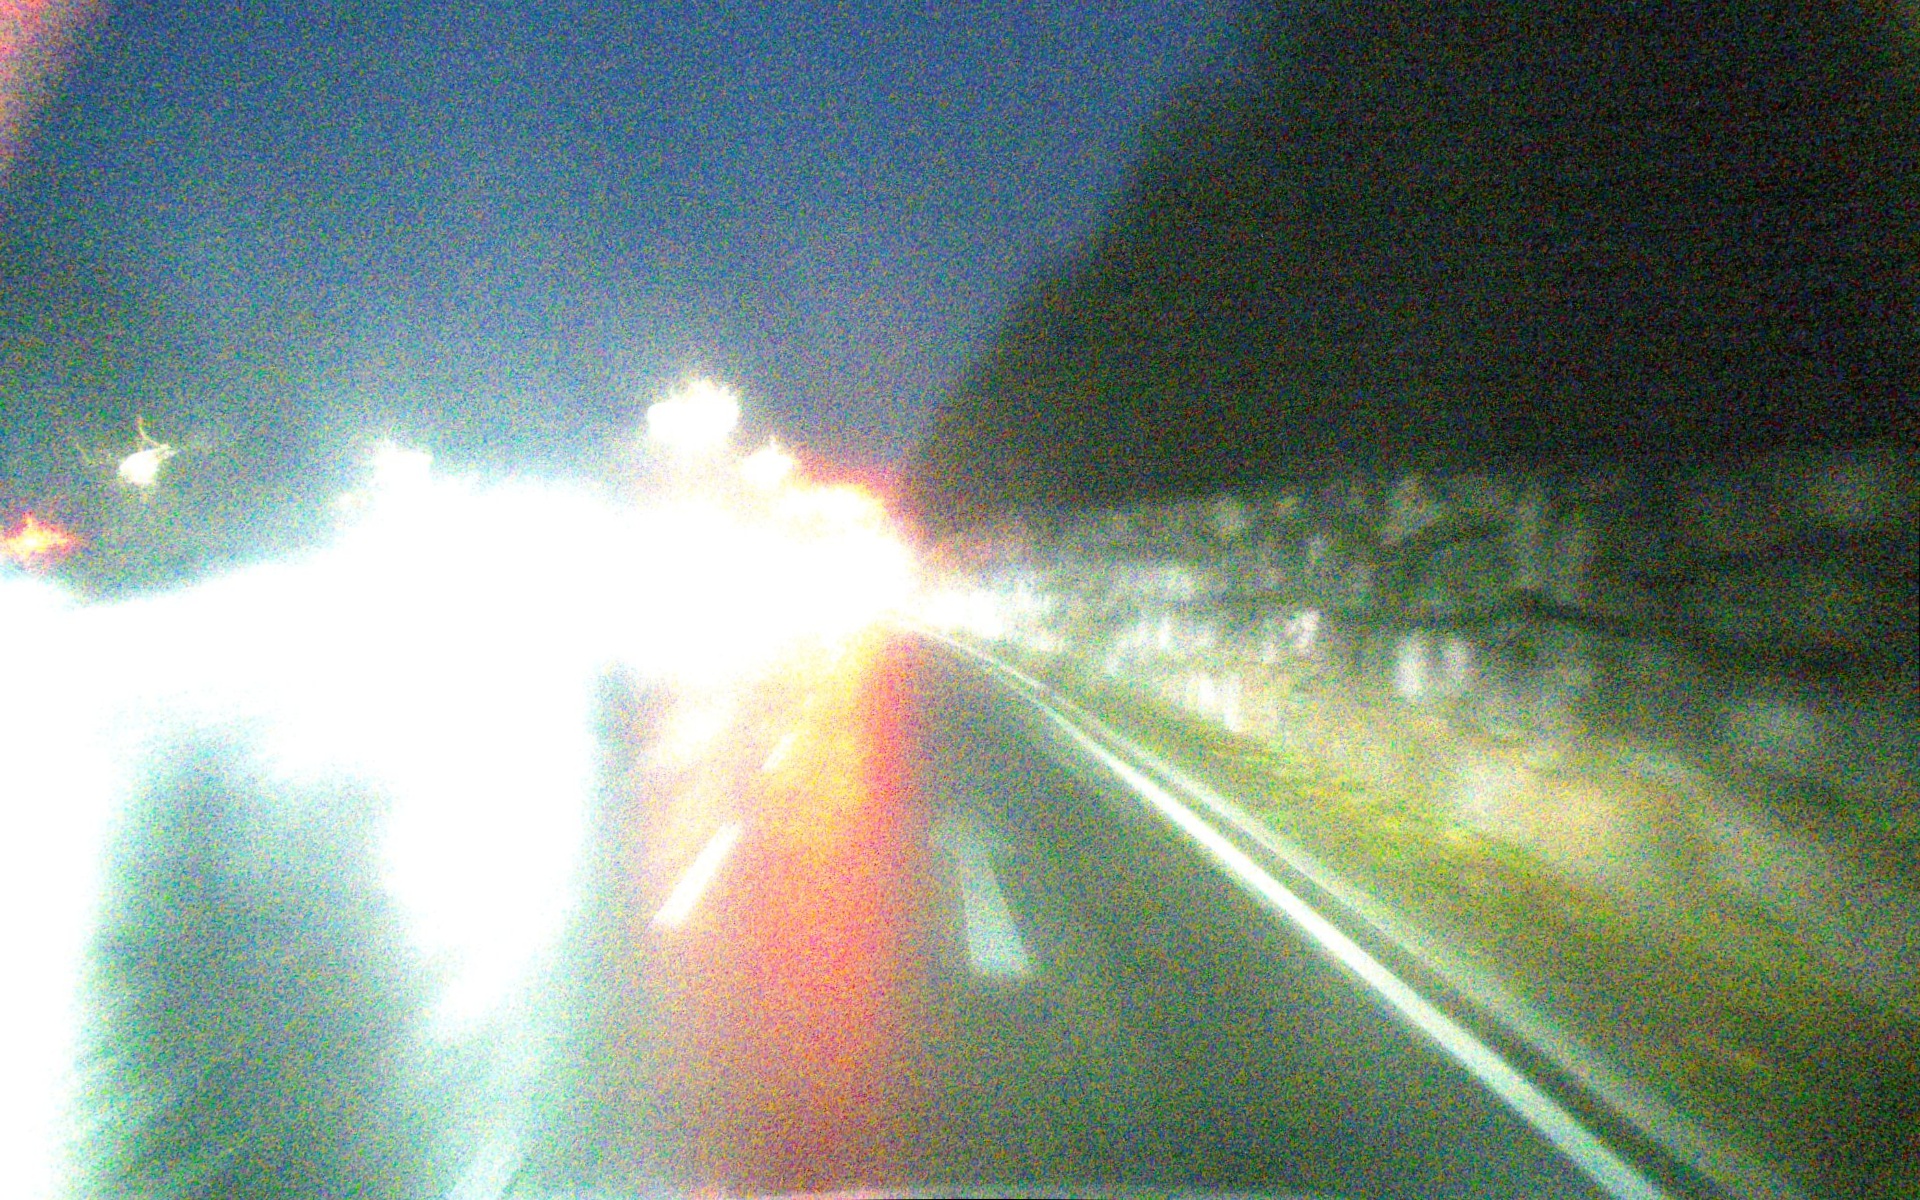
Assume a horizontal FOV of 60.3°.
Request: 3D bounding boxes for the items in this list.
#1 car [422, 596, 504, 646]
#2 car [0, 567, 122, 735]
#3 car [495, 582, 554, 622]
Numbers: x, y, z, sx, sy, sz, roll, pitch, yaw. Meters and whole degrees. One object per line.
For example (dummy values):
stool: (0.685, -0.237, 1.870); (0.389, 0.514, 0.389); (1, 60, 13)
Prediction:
car: (-15.493, 0.624, 51.719); (1.798, 1.467, 4.481); (1, 0, -9)
car: (-11.591, 0.500, 19.352); (2.160, 1.776, 4.509); (1, 0, -14)
car: (-17.518, 0.067, 66.652); (1.757, 1.466, 3.850); (-2, 2, -8)
